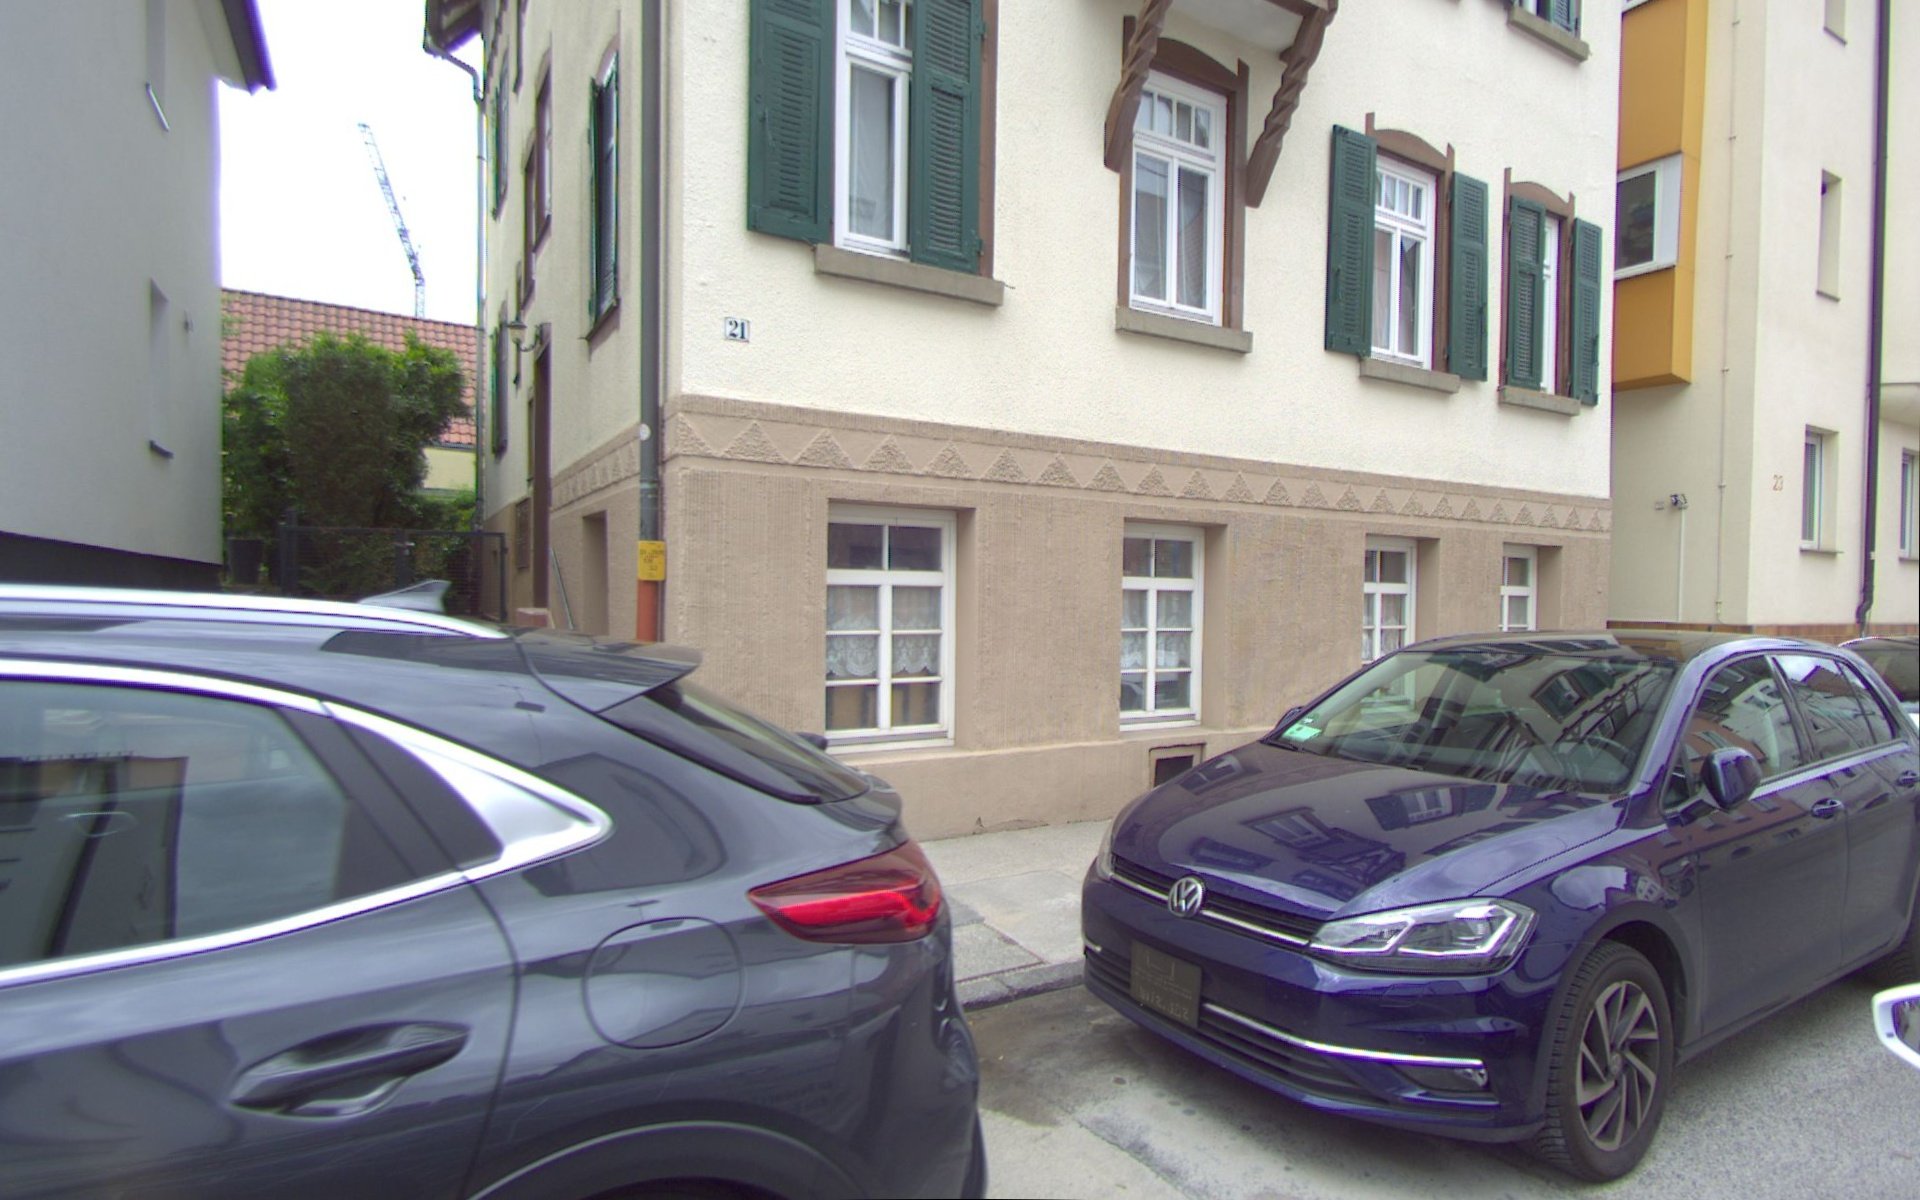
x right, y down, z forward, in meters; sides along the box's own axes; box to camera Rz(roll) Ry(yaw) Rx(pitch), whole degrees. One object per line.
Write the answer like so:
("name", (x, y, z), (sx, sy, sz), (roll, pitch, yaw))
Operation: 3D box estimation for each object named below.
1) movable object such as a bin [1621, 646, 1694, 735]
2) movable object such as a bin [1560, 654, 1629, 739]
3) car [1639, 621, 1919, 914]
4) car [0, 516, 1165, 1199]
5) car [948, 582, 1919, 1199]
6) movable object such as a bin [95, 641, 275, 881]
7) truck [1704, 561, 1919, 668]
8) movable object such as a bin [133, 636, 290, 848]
("movable object such as a bin", (7.962, 1.014, 11.467), (0.542, 0.937, 0.500), (0, 2, -35))
("movable object such as a bin", (7.632, 1.150, 12.088), (0.542, 0.937, 0.500), (0, 2, -35))
("car", (6.407, 0.909, 6.446), (4.320, 1.451, 1.743), (2, -3, -31))
("car", (-1.828, 0.697, 1.415), (4.036, 1.529, 1.744), (2, -3, -30))
("car", (2.254, 0.797, 3.878), (4.318, 1.475, 1.744), (2, -3, -30))
("movable object such as a bin", (-3.935, 0.779, 5.144), (0.660, 1.101, 0.511), (1, 1, -30))
("truck", (23.378, 0.373, 26.018), (2.297, 2.586, 6.220), (2, 0, -37))
("movable object such as a bin", (-4.260, 0.773, 5.756), (0.660, 1.101, 0.511), (1, 1, -30))
